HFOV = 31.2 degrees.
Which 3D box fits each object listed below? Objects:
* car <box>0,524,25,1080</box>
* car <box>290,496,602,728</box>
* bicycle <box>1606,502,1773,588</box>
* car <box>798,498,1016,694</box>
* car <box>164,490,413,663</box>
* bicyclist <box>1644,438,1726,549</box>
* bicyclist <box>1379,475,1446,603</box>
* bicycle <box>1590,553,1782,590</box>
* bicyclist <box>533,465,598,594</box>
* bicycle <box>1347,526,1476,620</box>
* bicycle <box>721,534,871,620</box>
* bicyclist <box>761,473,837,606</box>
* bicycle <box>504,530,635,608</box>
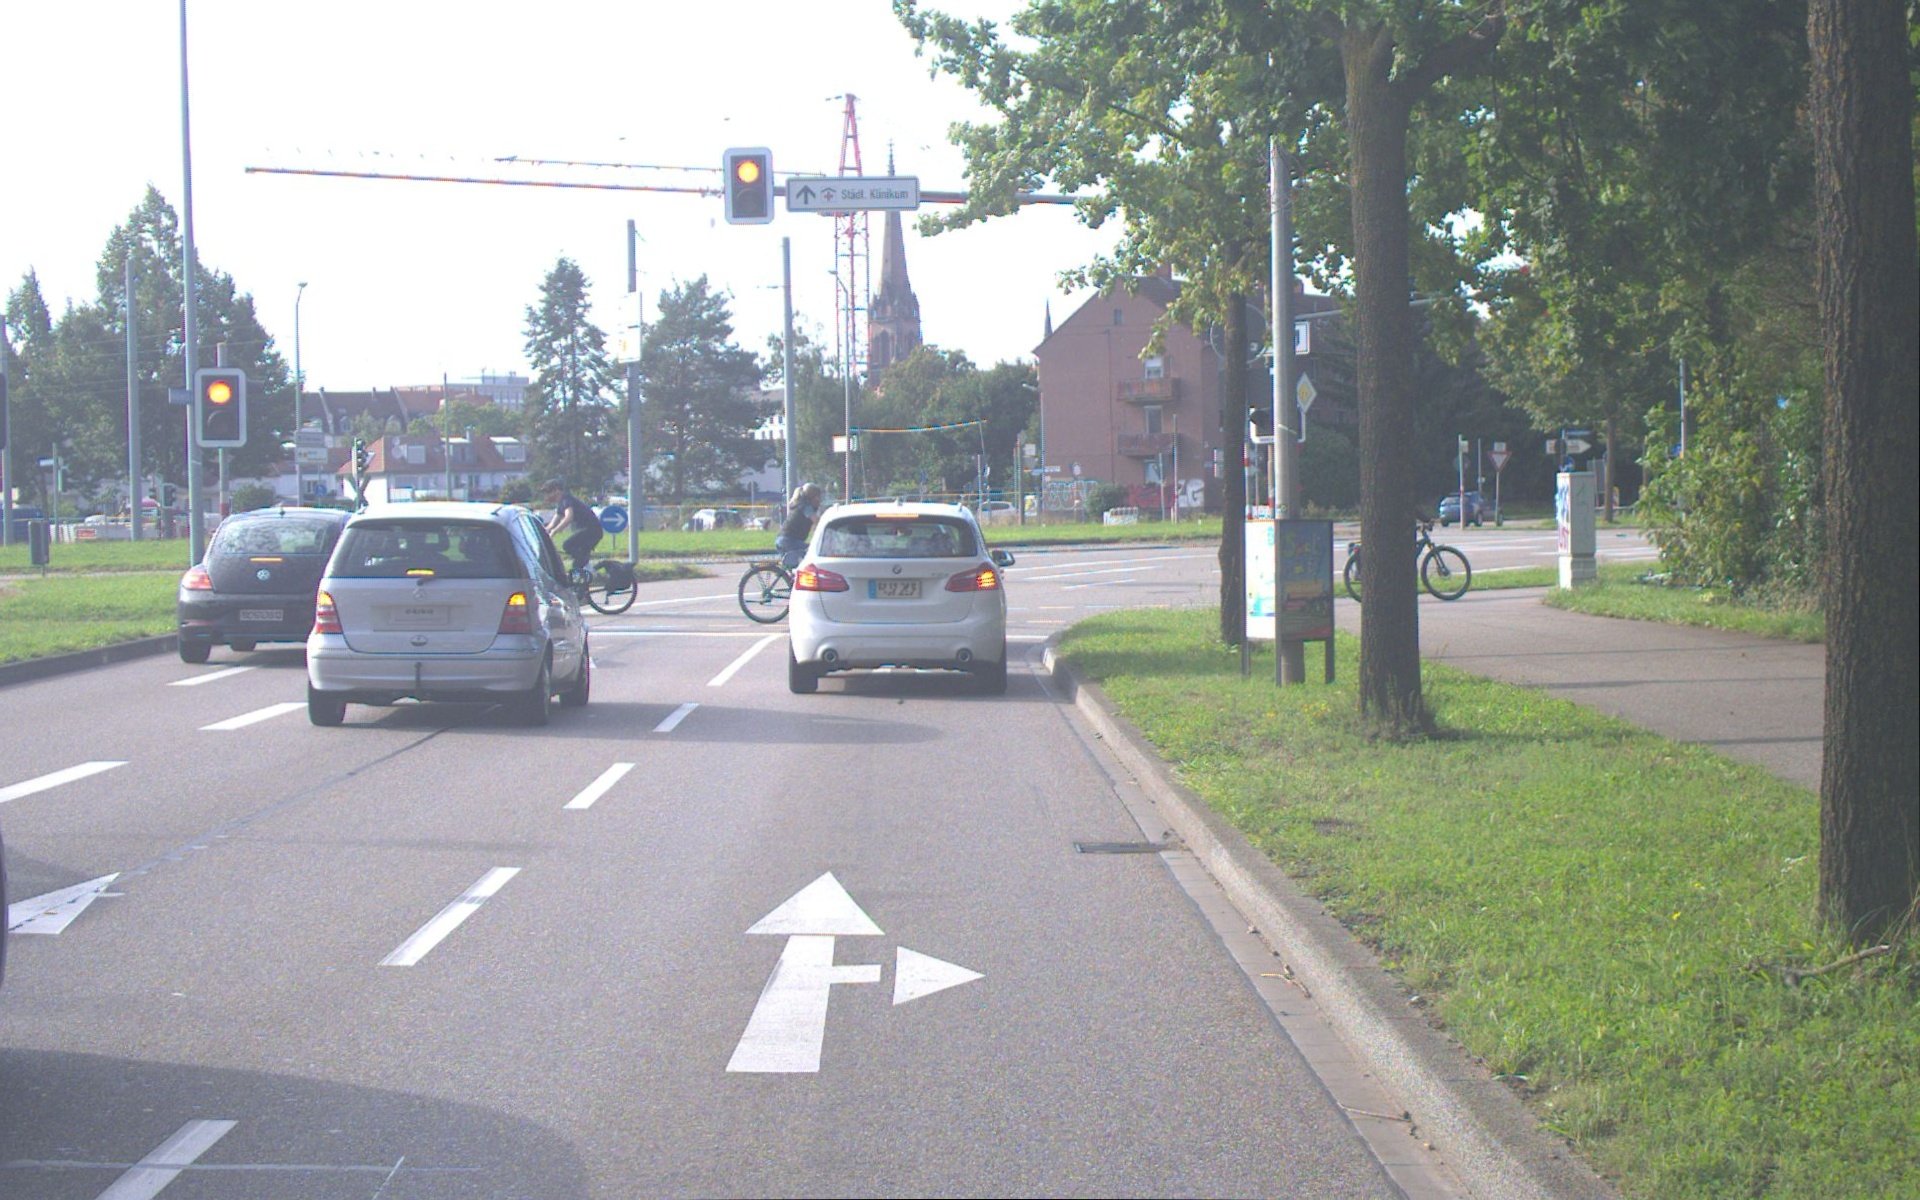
[{"bbox_3d":[-3.453,0.582,7.062,1.890,1.478,4.613,0,1,-1],"label":"car"},{"bbox_3d":[-3.688,0.020,25.278,1.729,1.553,4.058,0,2,-1],"label":"car"},{"bbox_3d":[9.979,-0.759,47.031,2.038,1.116,0.891,-2,1,-15],"label":"bicycle"},{"bbox_3d":[-0.463,-0.091,29.400,1.729,1.553,4.058,0,2,-1],"label":"car"},{"bbox_3d":[-6.541,-0.276,33.841,1.721,1.559,3.878,1,2,-1],"label":"car"},{"bbox_3d":[9.911,-1.455,47.031,0.820,1.484,0.763,-2,1,-14],"label":"bicyclist"},{"bbox_3d":[5.922,-0.805,45.002,0.768,1.642,0.535,-1,3,-1],"label":"bicyclist"},{"bbox_3d":[8.995,-0.362,42.758,1.407,0.384,2.577,-2,2,-12],"label":"bicycle"},{"bbox_3d":[-5.162,-0.921,44.998,0.788,1.662,0.549,-1,1,-5],"label":"bicyclist"},{"bbox_3d":[5.906,-0.355,45.017,1.619,1.213,0.491,0,1,-1],"label":"bicycle"},{"bbox_3d":[-2.043,-0.292,42.786,1.770,1.046,0.711,-1,1,-13],"label":"bicycle"},{"bbox_3d":[-2.010,-0.757,42.795,0.829,1.642,0.686,-1,1,-13],"label":"bicyclist"},{"bbox_3d":[-5.109,-0.411,45.014,1.674,0.963,0.644,-2,1,-5],"label":"bicycle"}]
